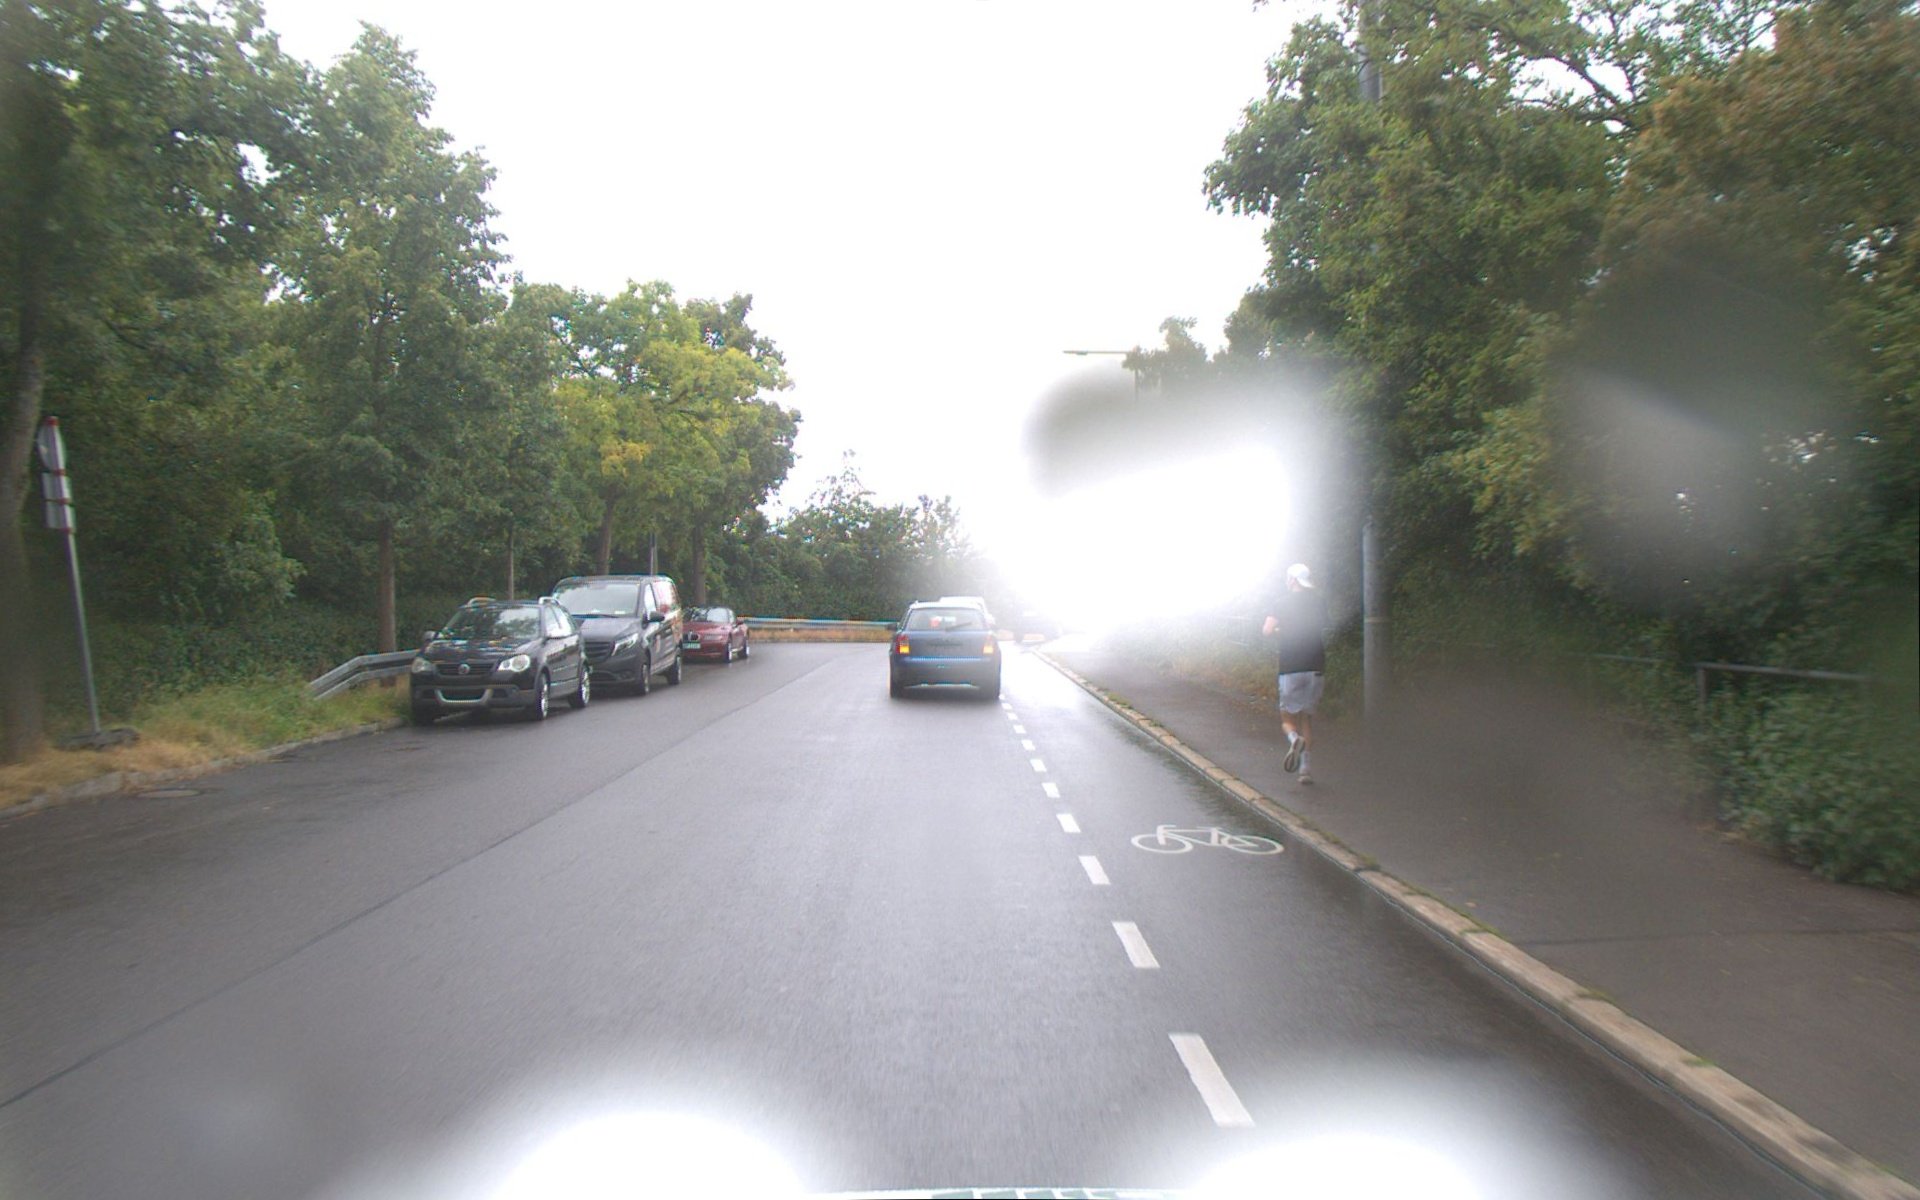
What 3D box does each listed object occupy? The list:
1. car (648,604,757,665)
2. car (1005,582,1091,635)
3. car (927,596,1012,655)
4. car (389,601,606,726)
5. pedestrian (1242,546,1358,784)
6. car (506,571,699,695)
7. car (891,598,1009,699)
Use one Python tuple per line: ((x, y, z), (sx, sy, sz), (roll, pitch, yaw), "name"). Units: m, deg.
((-6.003, 0.767, 39.049), (1.752, 1.319, 4.326), (-1, 0, 2), "car")
((2.921, 0.266, 54.286), (1.784, 1.645, 3.786), (-2, 0, 19), "car")
((0.287, 0.626, 42.320), (1.851, 1.413, 4.002), (-1, 0, 5), "car")
((-6.018, 0.773, 22.040), (1.761, 1.462, 4.254), (-1, 0, -1), "car")
((2.798, 0.514, 13.682), (0.702, 1.867, 1.021), (-2, 0, 1), "pedestrian")
((-5.901, 0.511, 28.015), (2.041, 1.851, 5.380), (-1, 0, 0), "car")
((-0.230, 0.712, 26.370), (1.712, 1.432, 3.998), (0, 1, -3), "car")
